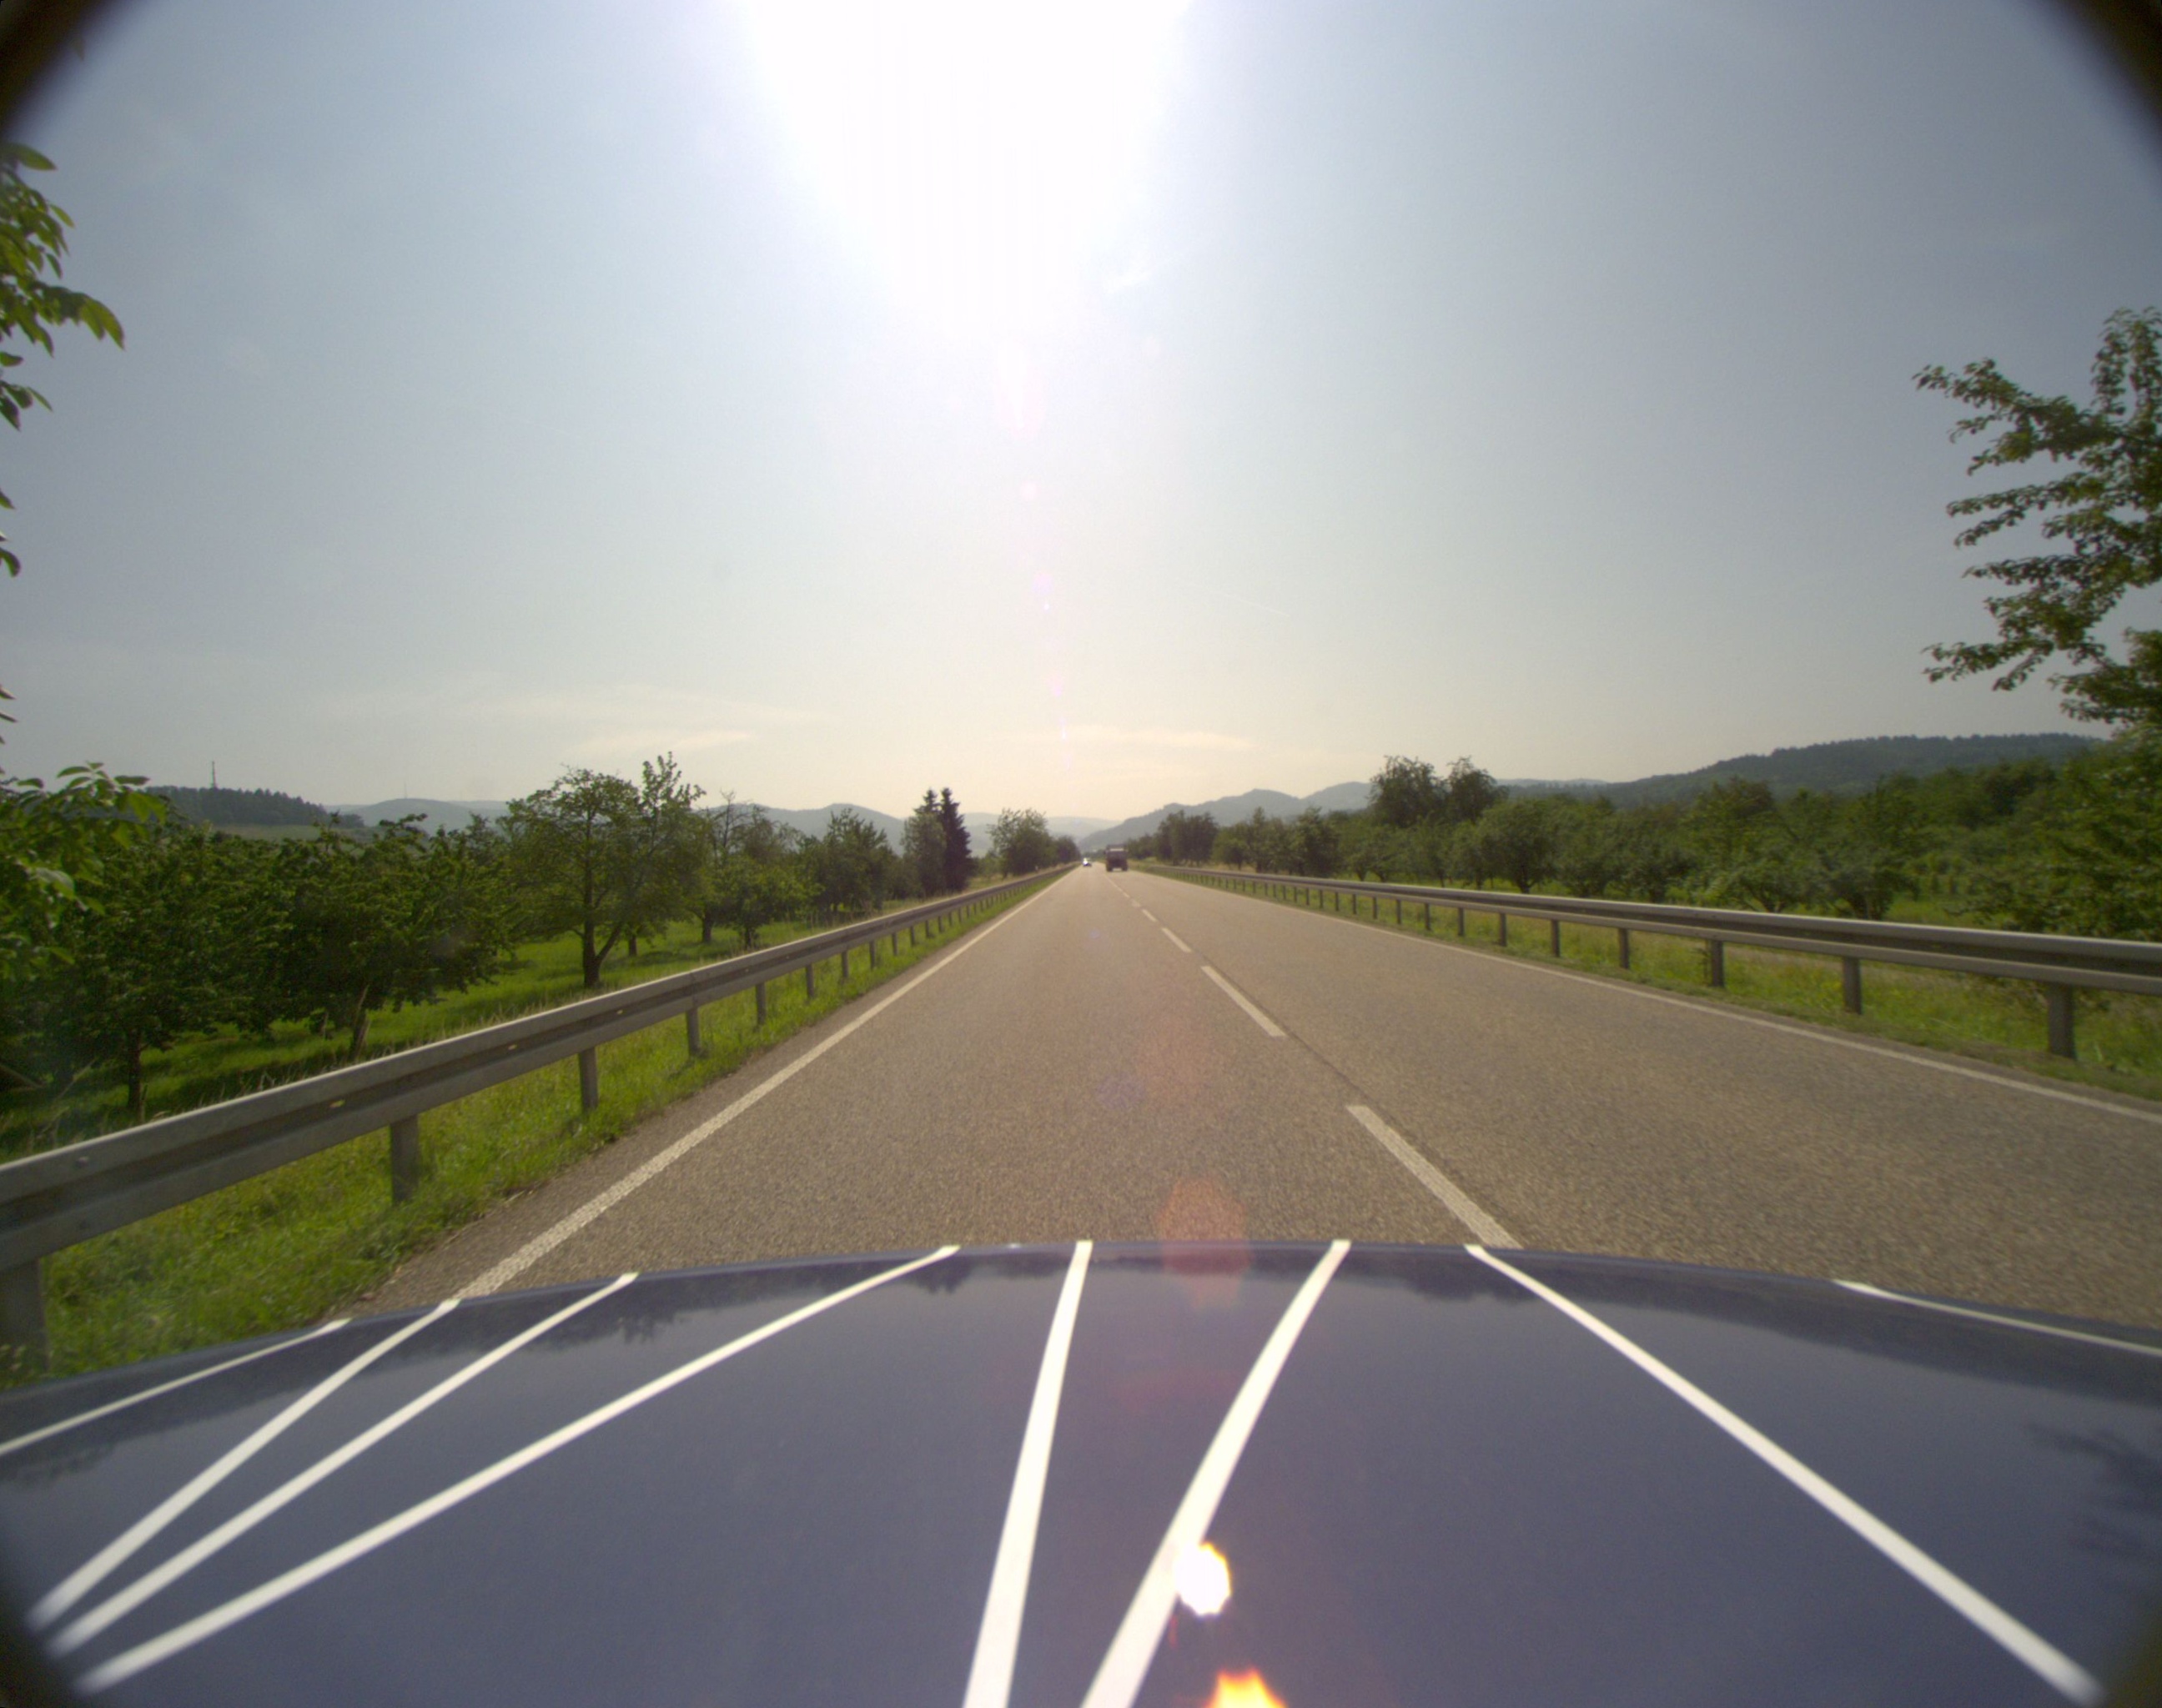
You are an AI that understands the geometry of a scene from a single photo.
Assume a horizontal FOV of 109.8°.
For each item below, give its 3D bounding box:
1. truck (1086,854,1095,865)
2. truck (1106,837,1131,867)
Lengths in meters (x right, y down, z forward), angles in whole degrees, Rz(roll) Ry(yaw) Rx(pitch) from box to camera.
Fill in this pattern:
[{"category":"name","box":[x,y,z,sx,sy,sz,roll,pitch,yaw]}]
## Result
[{"category":"truck","box":[2.117,1.169,170.574,2.032,2.232,4.764,-2,0,1]},{"category":"truck","box":[4.746,-0.263,97.846,2.735,3.650,9.382,-2,0,1]}]
